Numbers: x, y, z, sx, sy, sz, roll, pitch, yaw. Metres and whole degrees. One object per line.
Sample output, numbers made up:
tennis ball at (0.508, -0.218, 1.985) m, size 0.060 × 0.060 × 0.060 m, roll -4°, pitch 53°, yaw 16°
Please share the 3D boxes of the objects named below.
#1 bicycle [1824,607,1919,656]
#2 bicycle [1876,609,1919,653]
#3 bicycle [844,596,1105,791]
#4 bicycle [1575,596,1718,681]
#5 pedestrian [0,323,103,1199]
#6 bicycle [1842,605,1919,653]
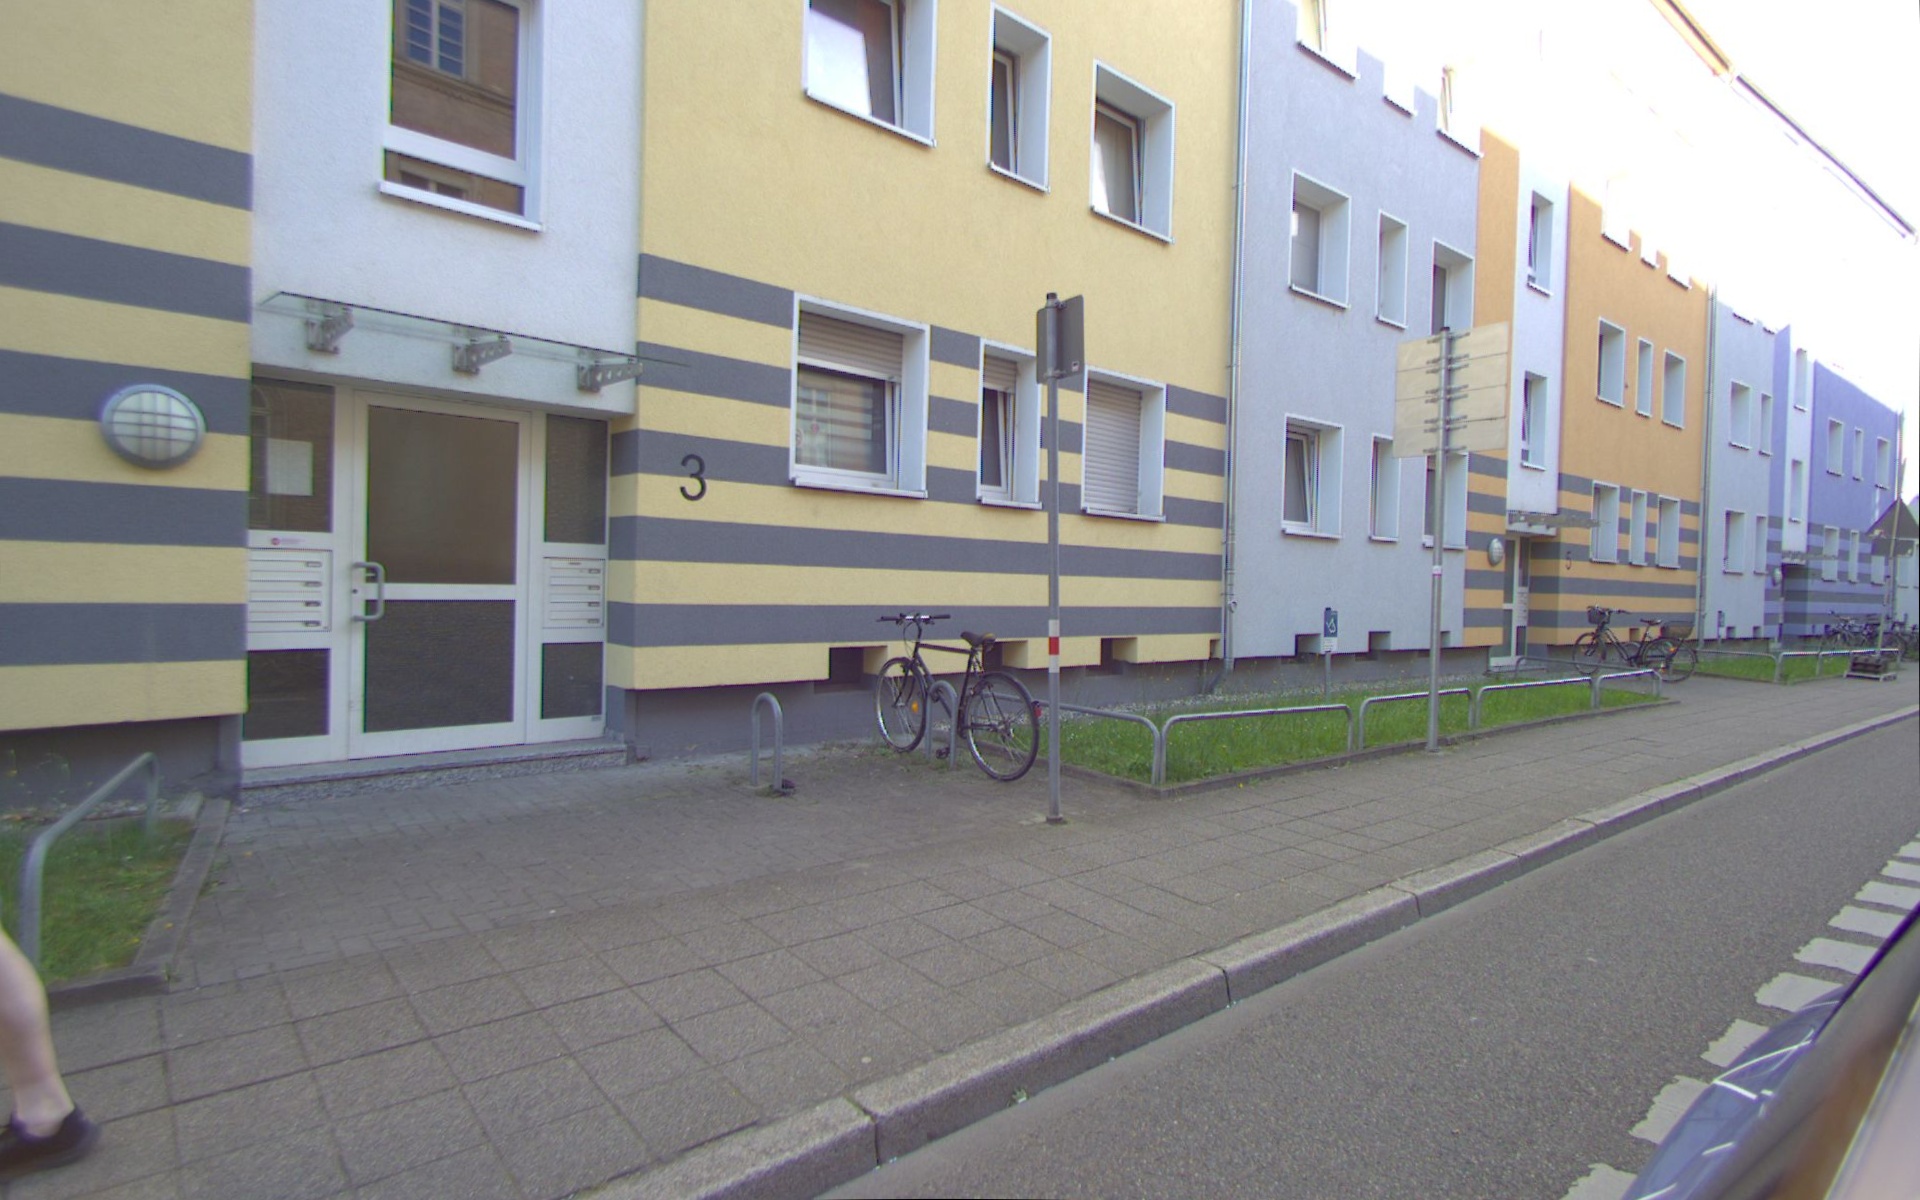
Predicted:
bicycle at (22.268, 0.745, 24.665) m, size 0.624 × 1.058 × 1.711 m, roll 1°, pitch 2°, yaw -39°
bicycle at (24.156, 0.806, 25.335) m, size 0.625 × 1.048 × 1.709 m, roll 1°, pitch 3°, yaw -42°
bicycle at (0.033, 0.564, 7.043) m, size 0.625 × 1.074 × 1.946 m, roll 1°, pitch 3°, yaw -42°
bicycle at (10.728, 0.574, 15.861) m, size 0.625 × 1.173 × 1.709 m, roll 1°, pitch 3°, yaw -42°
pedestrian at (-2.313, 0.351, 1.998) m, size 0.898 × 1.810 × 0.646 m, roll 1°, pitch 4°, yaw -38°
bicycle at (23.237, 0.716, 25.260) m, size 0.625 × 1.095 × 1.711 m, roll 1°, pitch 2°, yaw -40°
